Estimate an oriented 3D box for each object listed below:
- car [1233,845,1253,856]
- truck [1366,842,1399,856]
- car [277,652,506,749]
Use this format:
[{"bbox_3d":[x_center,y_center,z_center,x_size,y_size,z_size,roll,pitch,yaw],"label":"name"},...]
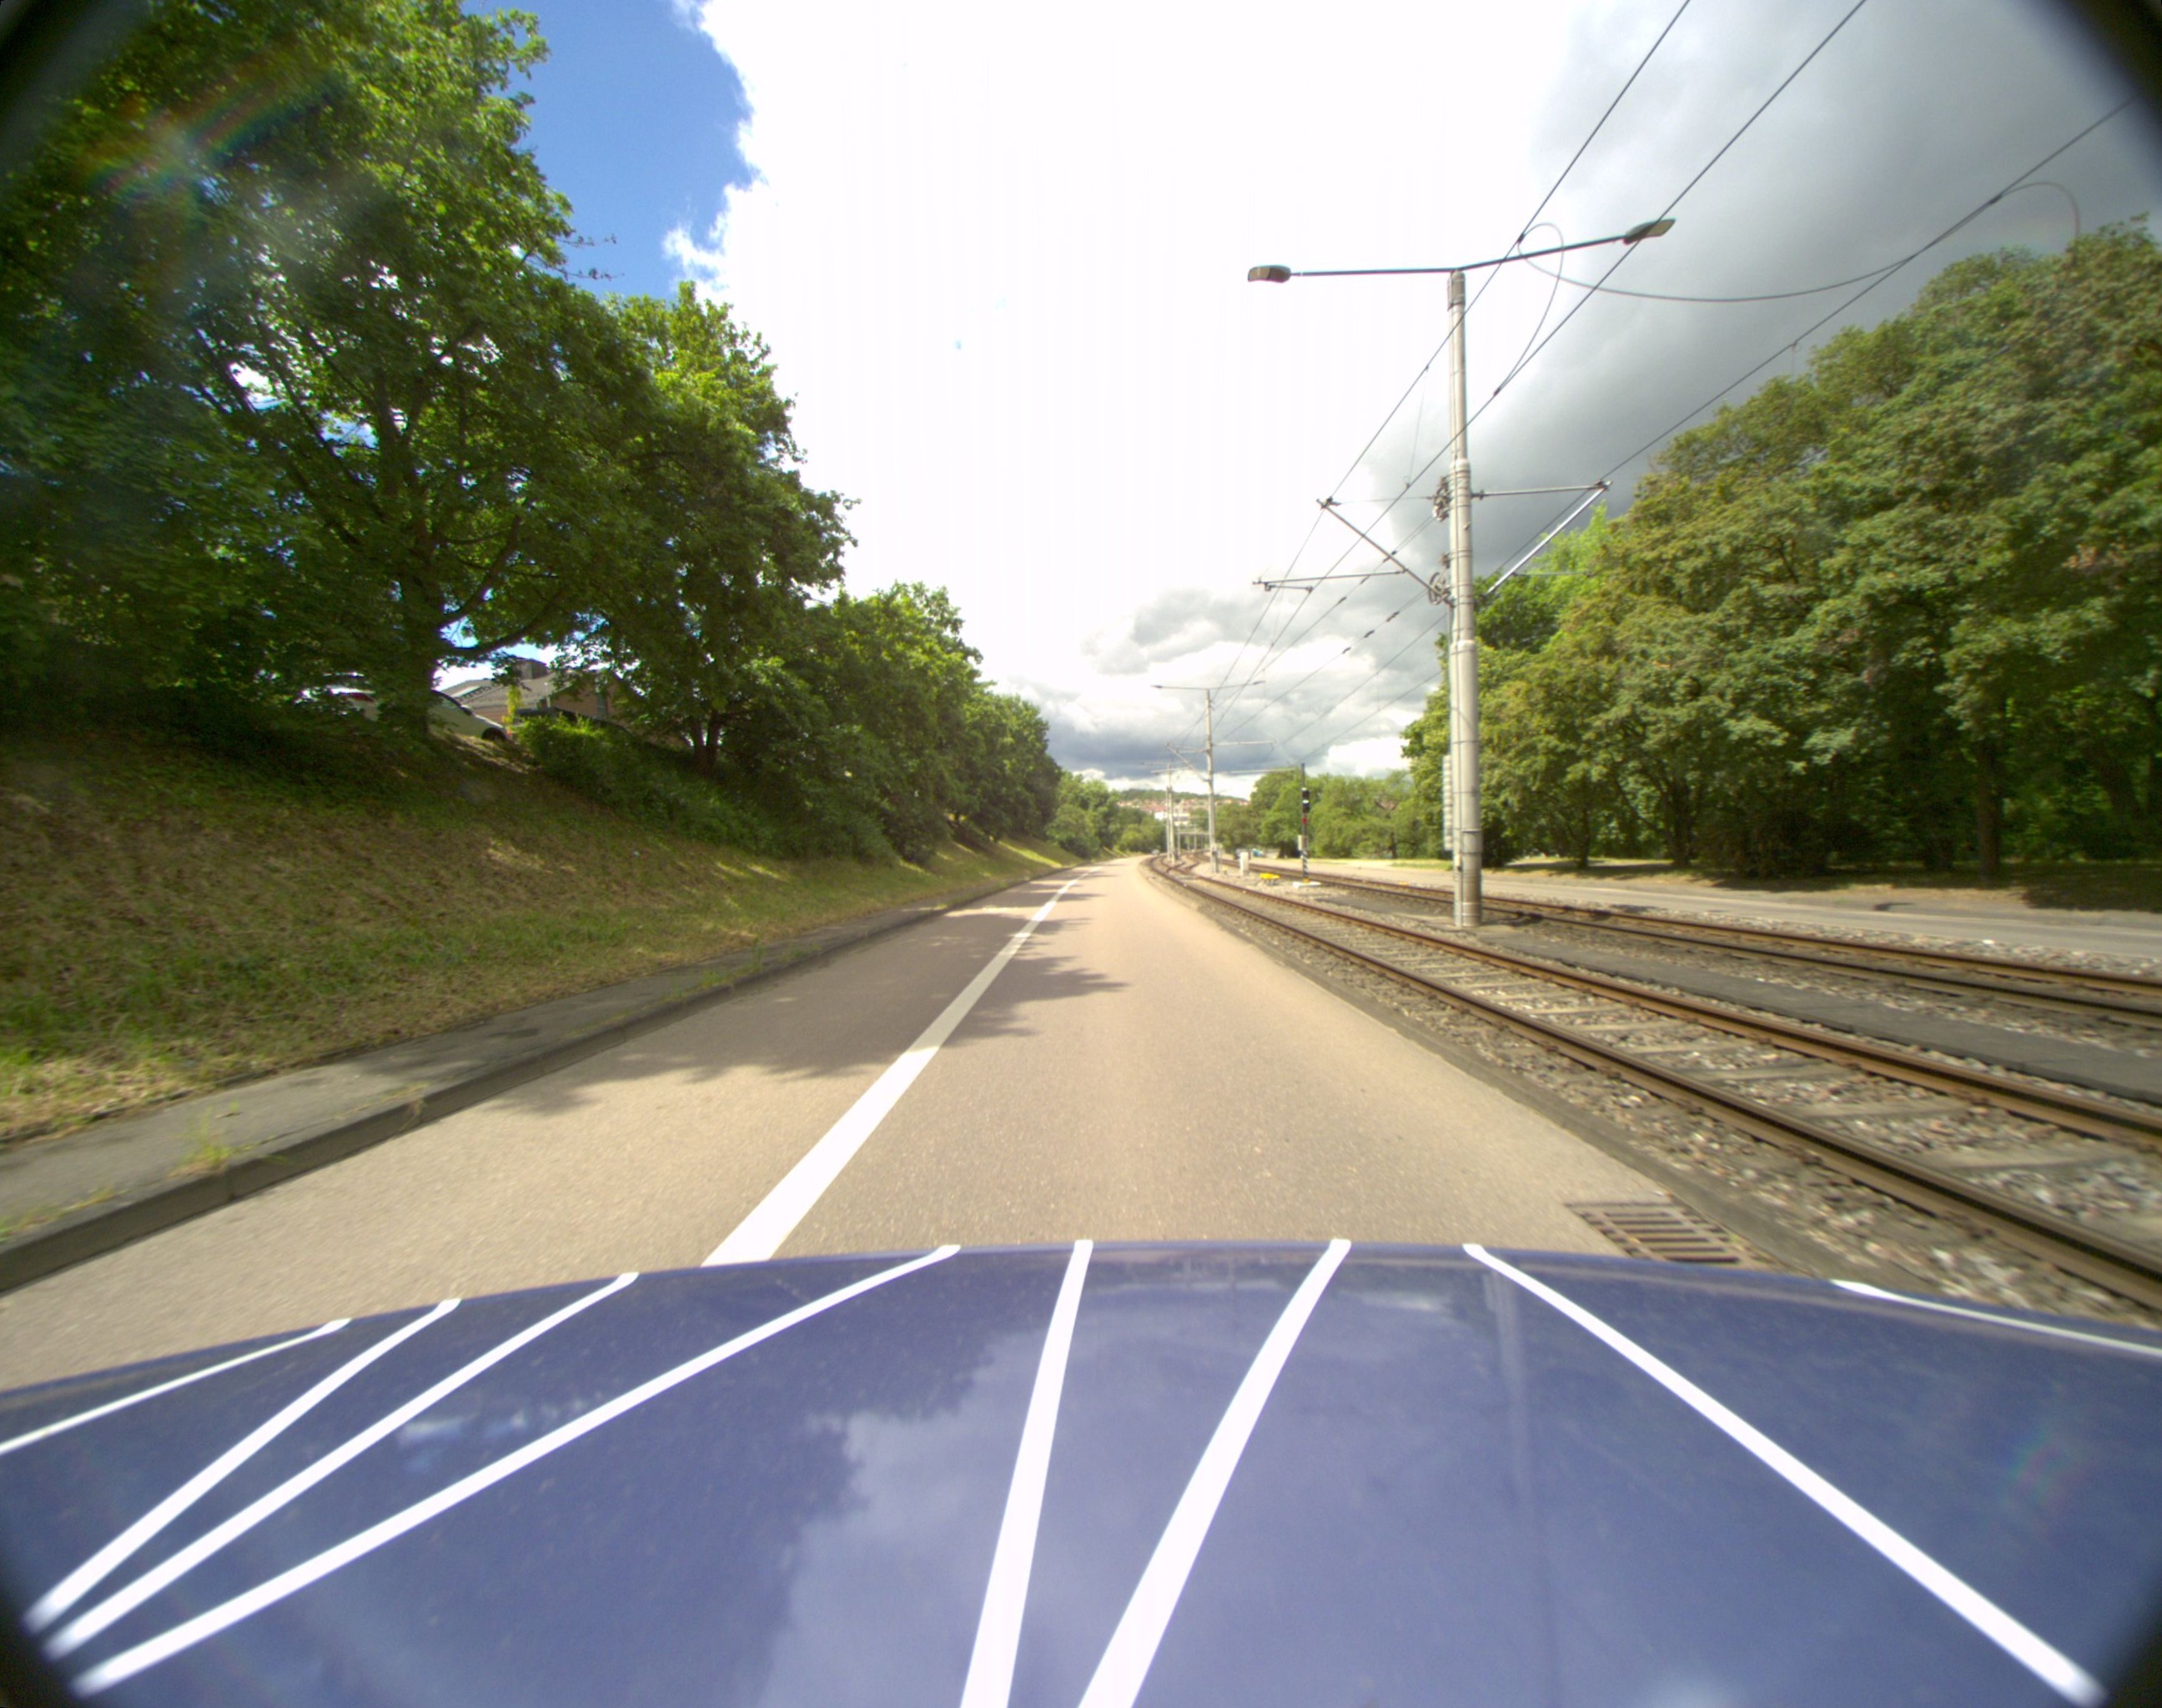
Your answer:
[{"bbox_3d":[20.837,-0.429,97.891,1.839,1.383,4.863,0,1,4],"label":"car"},{"bbox_3d":[67.215,-1.125,169.502,6.613,2.839,2.681,1,1,11],"label":"truck"},{"bbox_3d":[-16.180,-3.544,18.165,1.779,1.490,3.996,-2,1,0],"label":"car"}]
